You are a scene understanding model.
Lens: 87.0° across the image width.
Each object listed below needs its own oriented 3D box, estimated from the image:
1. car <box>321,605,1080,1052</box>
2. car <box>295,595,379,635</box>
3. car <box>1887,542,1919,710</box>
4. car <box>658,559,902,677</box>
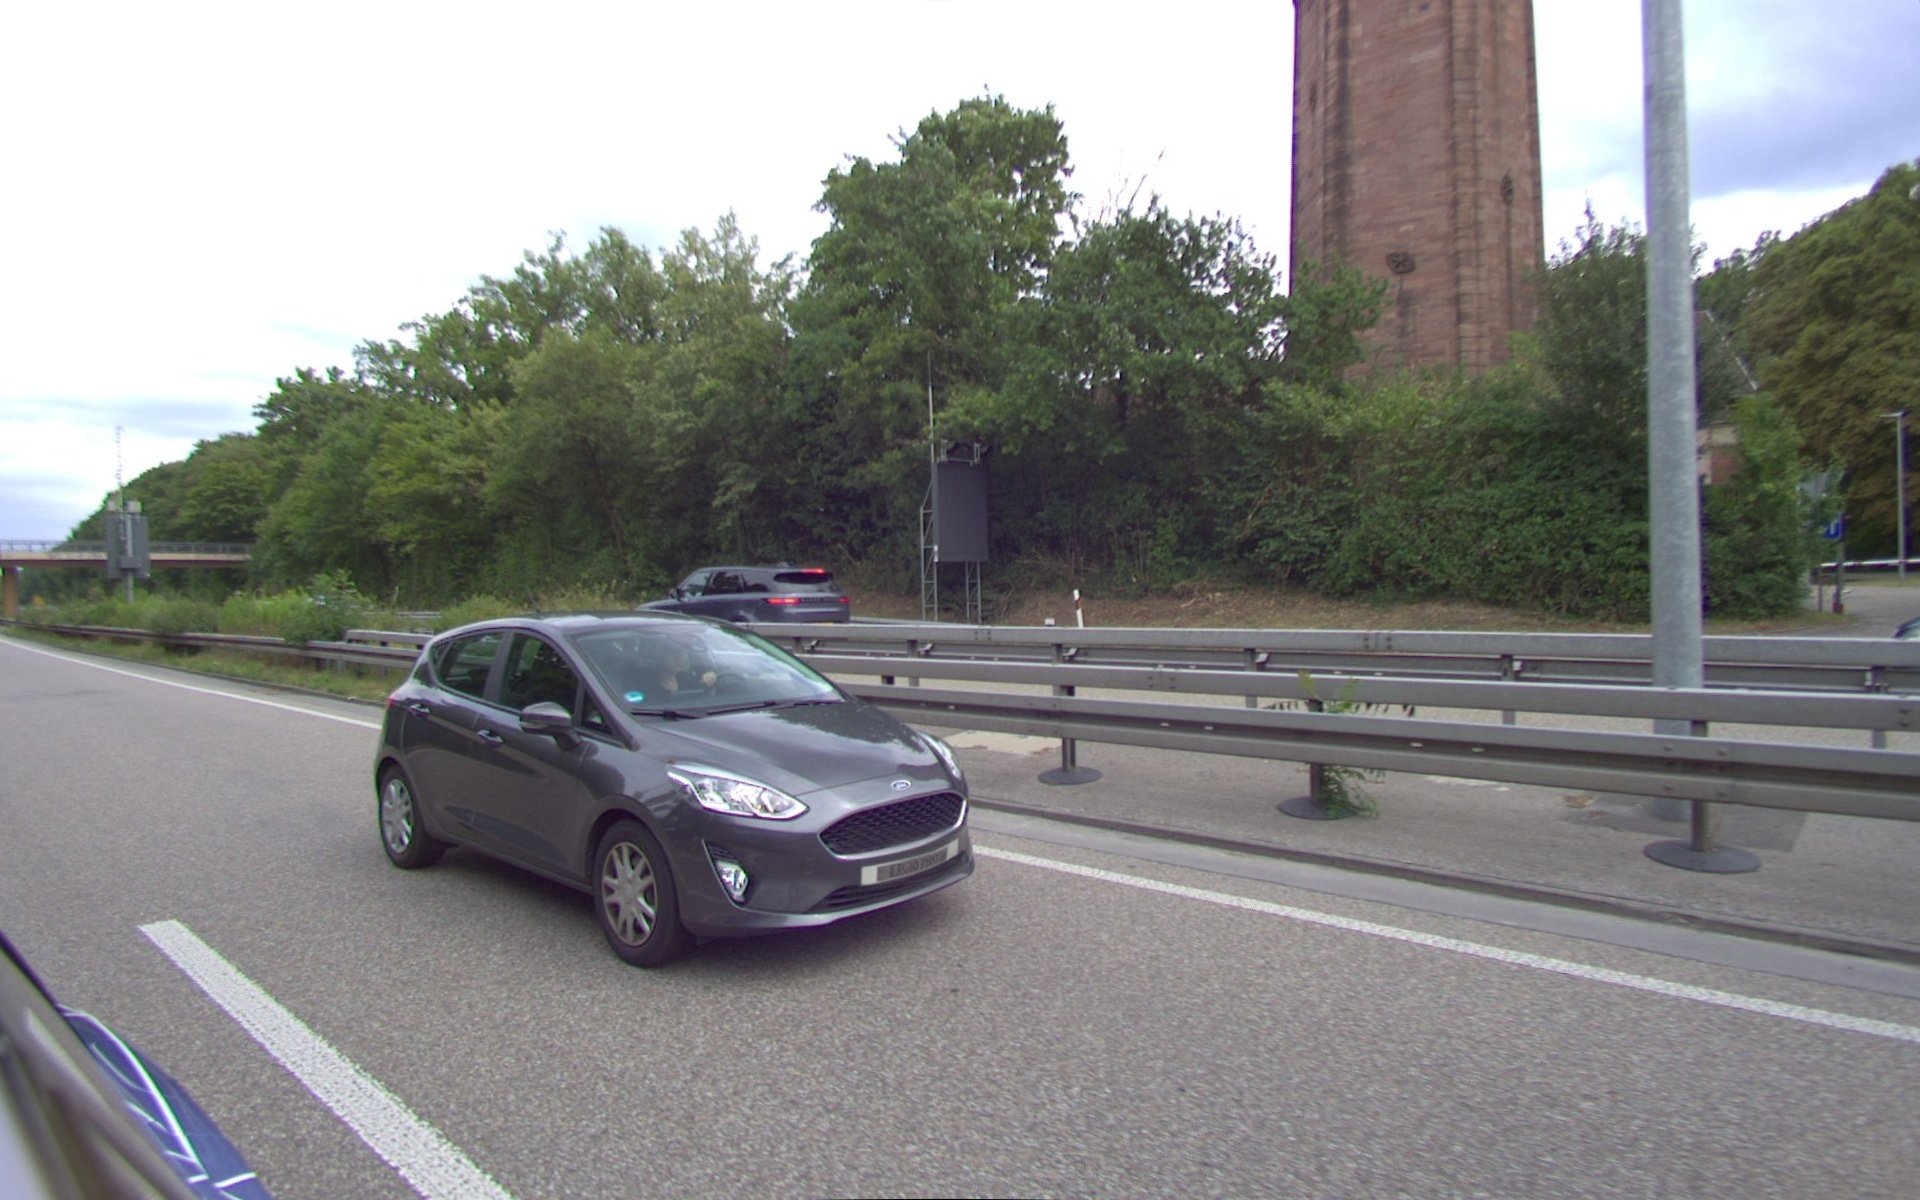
[{"bbox_3d":[-1.759,0.769,5.585,4.638,1.469,1.807,0,0,42],"label":"car"},{"bbox_3d":[-27.791,0.651,45.073,4.772,1.670,1.972,0,0,42],"label":"car"},{"bbox_3d":[11.221,0.244,9.124,4.129,1.613,1.713,0,0,40],"label":"car"},{"bbox_3d":[-3.212,0.278,17.469,4.541,1.782,1.742,0,0,42],"label":"car"}]
